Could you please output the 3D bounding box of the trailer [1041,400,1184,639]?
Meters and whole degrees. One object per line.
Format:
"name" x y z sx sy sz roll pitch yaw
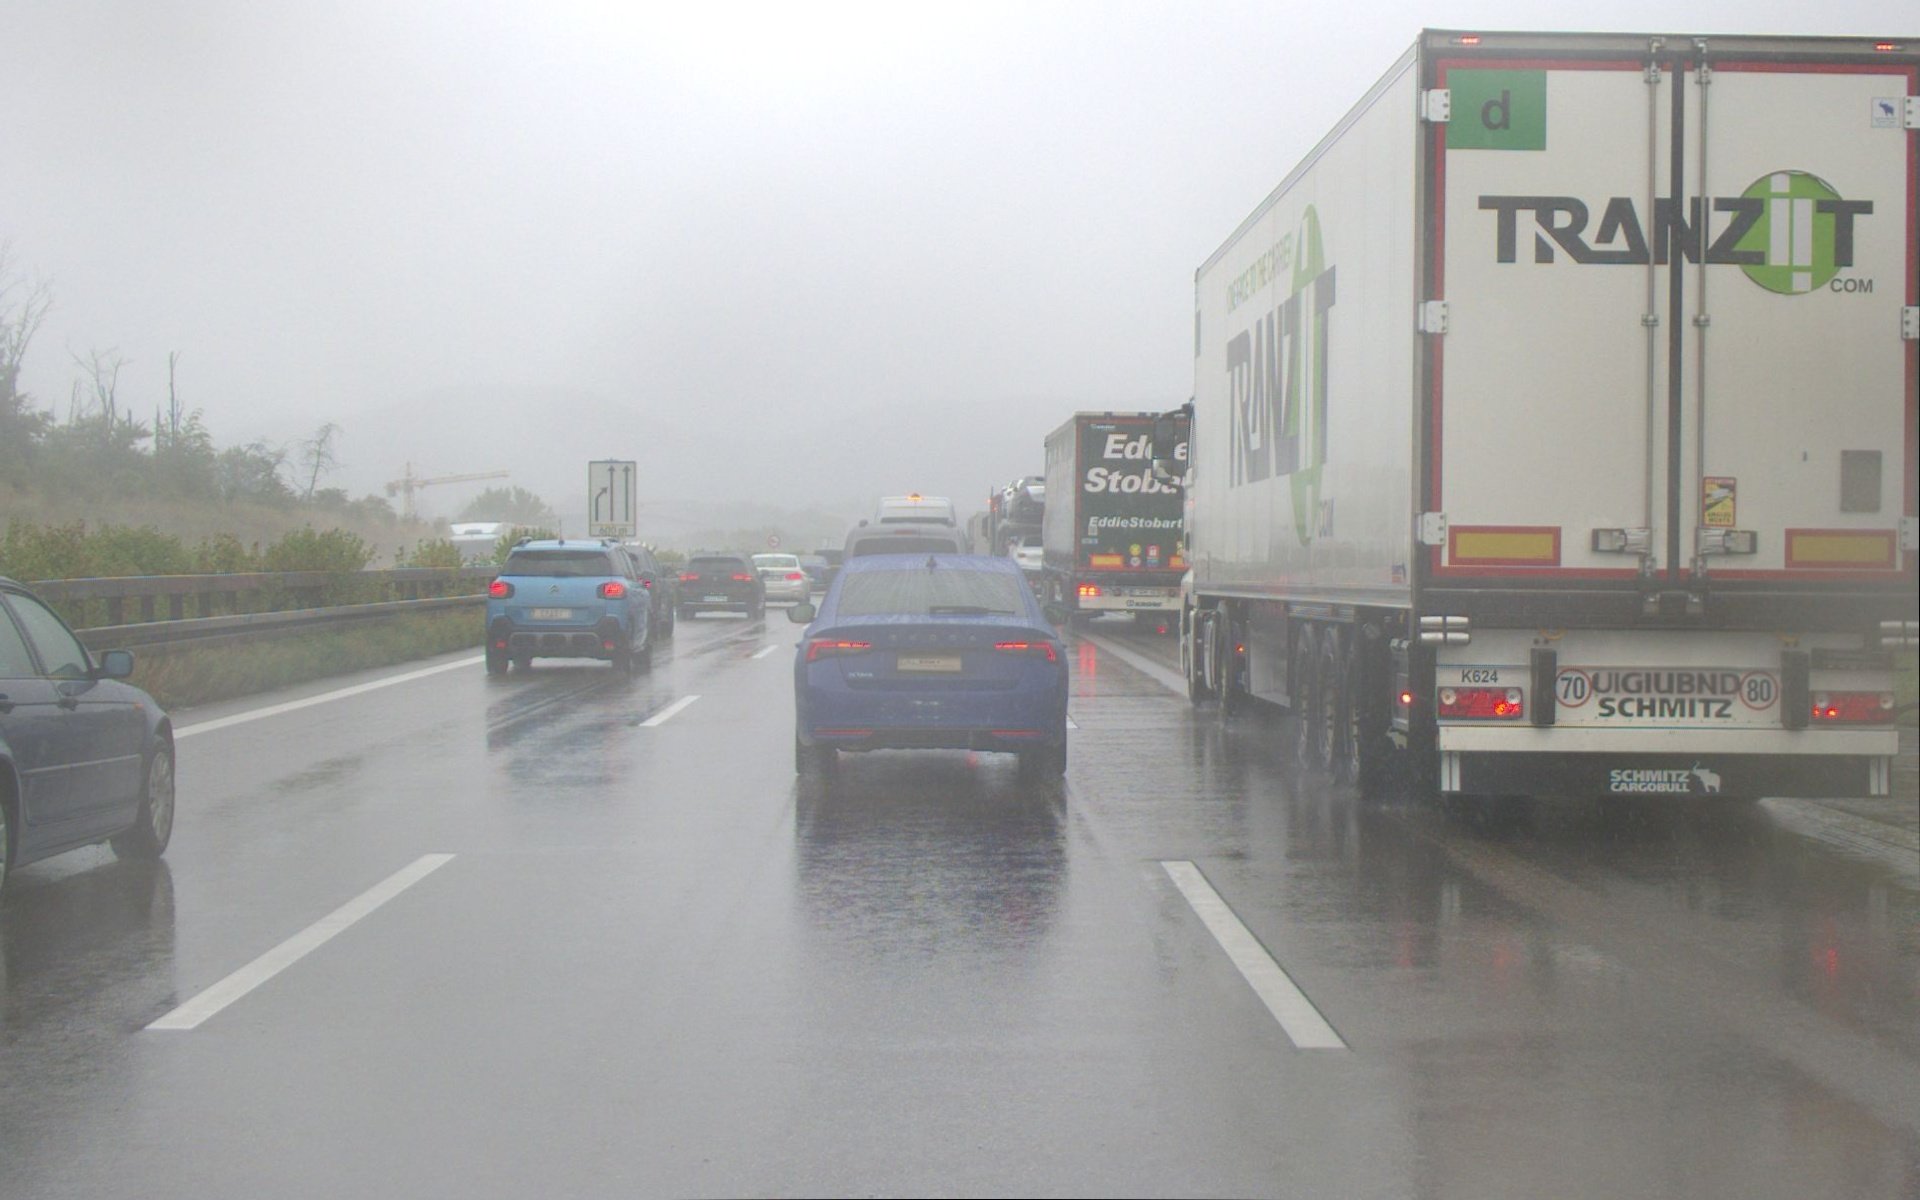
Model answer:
"trailer" 2.794 -1.503 65.611 2.047 4.162 11.449 0 1 -1

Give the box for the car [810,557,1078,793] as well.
"car" -0.095 0.432 23.071 1.635 1.440 4.000 0 1 0

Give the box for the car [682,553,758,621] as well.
"car" -5.134 -0.302 73.867 1.439 1.415 3.322 0 1 -1

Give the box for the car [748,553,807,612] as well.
"car" -4.834 -0.489 91.374 1.439 1.528 3.322 0 1 -1

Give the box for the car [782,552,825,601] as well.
"car" -5.797 -0.871 127.309 1.448 1.777 3.409 1 0 -1

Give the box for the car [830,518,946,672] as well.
"car" -0.849 -0.087 41.363 1.336 1.774 3.322 0 1 -1

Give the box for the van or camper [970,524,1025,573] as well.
"van or camper" 1.262 -1.767 117.512 1.771 1.619 4.484 0 1 -1

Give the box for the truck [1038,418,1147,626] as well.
"truck" 2.719 -1.601 71.296 2.047 4.178 4.000 0 1 -1

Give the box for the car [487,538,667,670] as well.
"car" -4.617 0.018 41.861 1.721 1.518 4.000 0 1 0

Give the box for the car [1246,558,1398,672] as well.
"car" 4.318 0.151 41.387 1.423 1.284 3.461 0 1 -1

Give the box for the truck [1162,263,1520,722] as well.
"truck" 3.318 -0.941 31.062 2.630 3.814 4.791 0 1 -1

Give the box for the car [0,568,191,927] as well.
"car" -4.617 0.568 14.619 1.718 1.395 4.230 0 1 0

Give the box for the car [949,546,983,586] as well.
"car" 0.269 -1.528 156.499 1.448 1.777 3.409 1 0 -1

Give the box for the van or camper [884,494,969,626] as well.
"van or camper" -0.741 -0.889 75.485 1.797 2.797 4.768 0 1 -1

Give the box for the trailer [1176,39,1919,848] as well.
"trailer" 3.399 -0.903 24.346 2.630 3.999 14.630 0 1 -1

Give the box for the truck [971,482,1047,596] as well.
"truck" 1.487 -1.938 107.753 1.993 3.410 8.033 0 1 -2
